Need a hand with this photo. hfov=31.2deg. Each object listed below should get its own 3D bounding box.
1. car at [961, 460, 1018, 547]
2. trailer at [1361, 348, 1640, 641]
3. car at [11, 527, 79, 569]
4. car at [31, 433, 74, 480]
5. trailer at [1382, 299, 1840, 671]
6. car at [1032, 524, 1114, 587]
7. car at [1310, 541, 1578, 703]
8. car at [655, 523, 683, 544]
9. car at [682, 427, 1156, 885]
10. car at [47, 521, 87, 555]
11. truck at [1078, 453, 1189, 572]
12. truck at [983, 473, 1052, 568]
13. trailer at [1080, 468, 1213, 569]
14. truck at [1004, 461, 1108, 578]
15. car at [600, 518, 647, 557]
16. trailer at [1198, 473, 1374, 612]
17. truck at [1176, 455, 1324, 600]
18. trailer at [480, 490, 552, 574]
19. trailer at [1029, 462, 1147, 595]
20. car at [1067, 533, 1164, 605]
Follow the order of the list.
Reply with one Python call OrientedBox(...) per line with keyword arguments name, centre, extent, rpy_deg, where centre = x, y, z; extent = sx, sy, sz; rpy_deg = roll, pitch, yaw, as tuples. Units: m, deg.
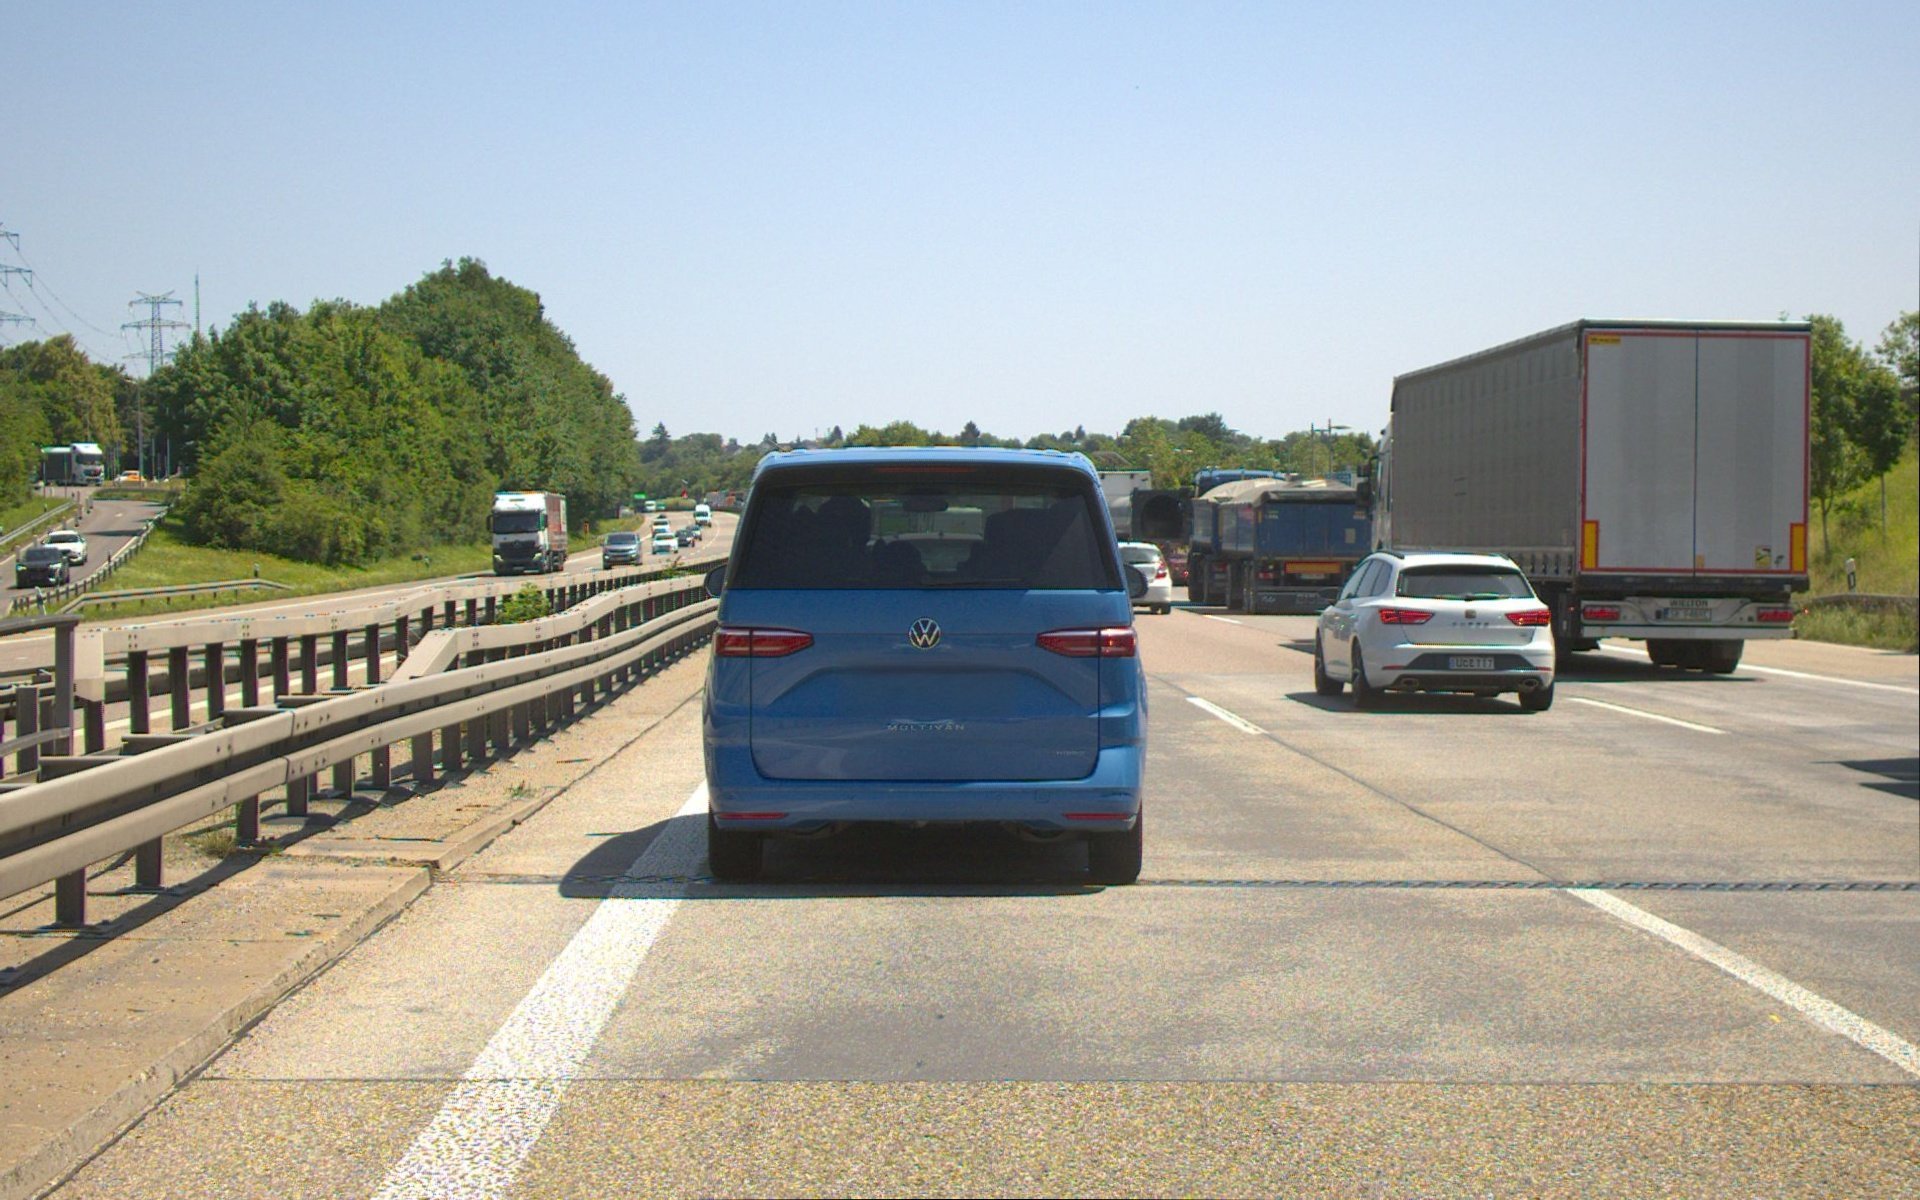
OrientedBox(name="car", centre=(1.799, -5.994, 215.383), extent=(3.218, 5.239, 8.145), rpy_deg=(1, 0, -1))
OrientedBox(name="trailer", centre=(7.825, -1.534, 50.622), extent=(2.924, 4.030, 6.411), rpy_deg=(0, 1, -1))
OrientedBox(name="car", centre=(-36.136, -2.042, 135.843), extent=(1.993, 1.570, 5.276), rpy_deg=(1, 0, -8))
OrientedBox(name="car", centre=(-60.035, -9.466, 227.355), extent=(2.068, 2.870, 6.734), rpy_deg=(-1, 1, -20))
OrientedBox(name="trailer", centre=(7.952, -1.387, 44.402), extent=(2.962, 4.035, 13.753), rpy_deg=(0, 1, -1))
OrientedBox(name="car", centre=(2.833, -1.109, 86.856), extent=(1.781, 1.519, 4.000), rpy_deg=(1, 0, -2))
OrientedBox(name="car", centre=(4.382, 0.159, 31.683), extent=(1.867, 1.356, 4.000), rpy_deg=(1, 1, 0))
OrientedBox(name="car", centre=(-20.889, -4.766, 246.813), extent=(1.850, 1.462, 4.305), rpy_deg=(-1, 1, -3))
OrientedBox(name="car", centre=(-0.175, 0.213, 16.010), extent=(1.901, 1.831, 4.000), rpy_deg=(1, 0, 0))
OrientedBox(name="car", centre=(-39.792, -2.739, 153.219), extent=(1.685, 1.451, 4.347), rpy_deg=(1, 0, -15))
OrientedBox(name="truck", centre=(6.187, -3.083, 123.773), extent=(3.626, 4.080, 7.524), rpy_deg=(1, 0, 1))
OrientedBox(name="truck", centre=(3.001, -4.176, 183.645), extent=(3.068, 4.903, 10.691), rpy_deg=(1, 0, -2))
OrientedBox(name="trailer", centre=(6.095, -2.609, 115.148), extent=(3.646, 3.068, 15.772), rpy_deg=(1, 0, 0))
OrientedBox(name="truck", centre=(4.433, -3.689, 162.767), extent=(3.621, 5.195, 15.691), rpy_deg=(1, 0, -3))
OrientedBox(name="car", centre=(-17.557, -3.254, 179.354), extent=(1.993, 1.934, 4.897), rpy_deg=(1, 0, -1))
OrientedBox(name="trailer", centre=(7.036, -1.342, 75.454), extent=(2.743, 2.827, 9.117), rpy_deg=(1, 2, -1))
OrientedBox(name="truck", centre=(6.890, -1.791, 82.636), extent=(2.743, 3.300, 7.133), rpy_deg=(1, 2, -1))
OrientedBox(name="trailer", centre=(-21.736, -3.334, 168.406), extent=(2.757, 3.962, 6.132), rpy_deg=(-2, 1, -1))
OrientedBox(name="trailer", centre=(5.117, -2.851, 140.791), extent=(3.646, 5.118, 13.077), rpy_deg=(1, 0, -3))
OrientedBox(name="car", centre=(3.243, -0.657, 72.394), extent=(1.840, 1.449, 4.000), rpy_deg=(1, 0, 0))
